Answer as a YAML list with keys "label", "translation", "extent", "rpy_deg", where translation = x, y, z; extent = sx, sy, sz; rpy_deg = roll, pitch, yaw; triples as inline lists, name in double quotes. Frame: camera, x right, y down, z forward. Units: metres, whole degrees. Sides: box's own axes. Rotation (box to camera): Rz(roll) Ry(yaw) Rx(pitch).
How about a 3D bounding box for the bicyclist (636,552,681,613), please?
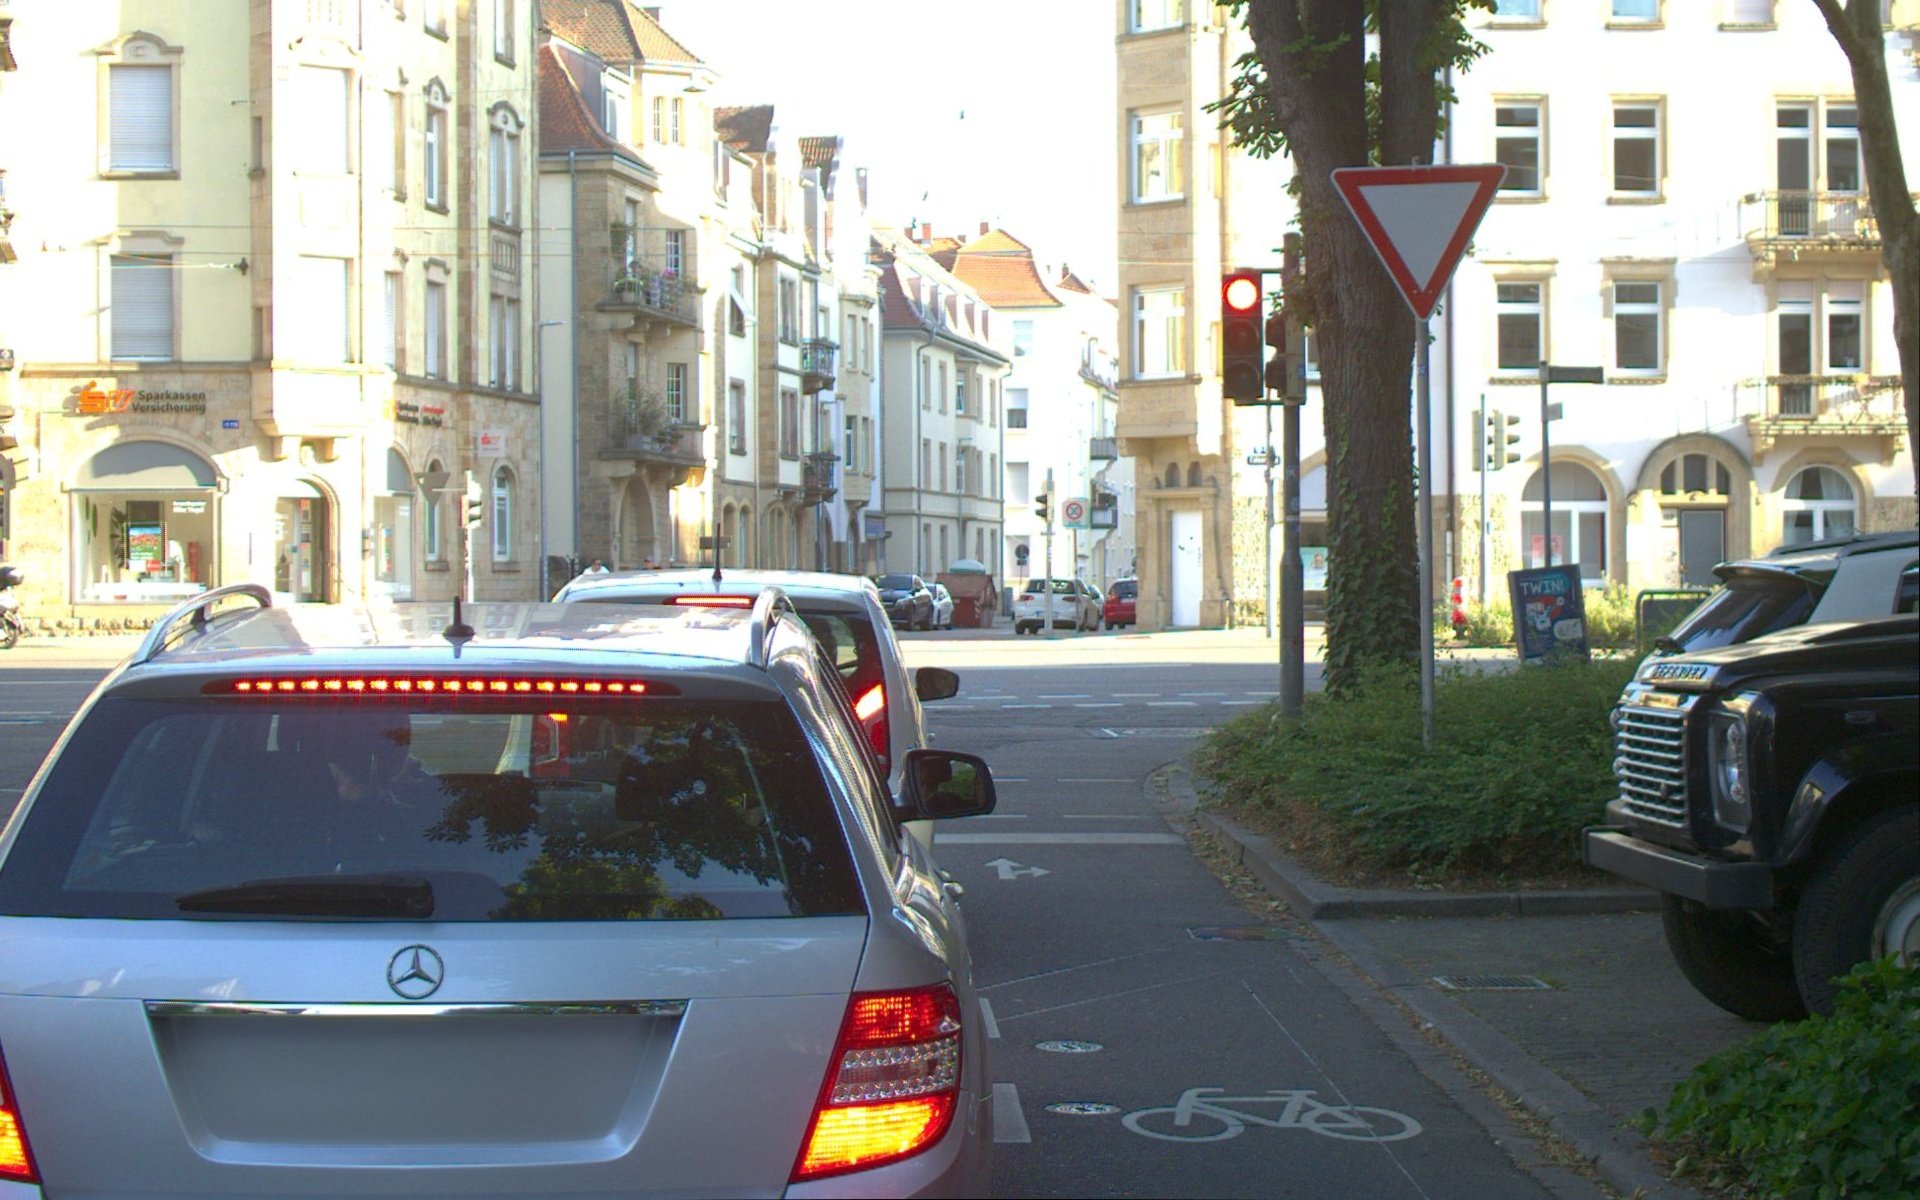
- label: "bicyclist"
  translation: [-6.436, -0.388, 73.466]
  extent: [0.771, 1.285, 0.752]
  rpy_deg: [1, 1, 11]

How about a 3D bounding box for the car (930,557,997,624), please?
- label: "car"
  translation: [0.140, -0.342, 117.345]
  extent: [1.787, 2.196, 3.999]
  rpy_deg: [0, 1, 8]

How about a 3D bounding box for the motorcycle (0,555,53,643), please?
- label: "motorcycle"
  translation: [-16.094, -0.013, 56.879]
  extent: [2.033, 1.447, 0.568]
  rpy_deg: [-1, 1, -4]

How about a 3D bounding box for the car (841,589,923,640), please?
- label: "car"
  translation: [-2.315, 0.405, 102.527]
  extent: [1.835, 1.397, 3.999]
  rpy_deg: [0, 1, 8]

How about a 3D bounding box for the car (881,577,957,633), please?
- label: "car"
  translation: [-1.269, 0.129, 108.757]
  extent: [1.835, 1.657, 3.999]
  rpy_deg: [0, 1, 8]

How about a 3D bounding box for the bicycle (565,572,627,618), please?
- label: "bicycle"
  translation: [-7.761, -0.104, 73.381]
  extent: [0.771, 0.936, 1.939]
  rpy_deg: [1, 1, 11]

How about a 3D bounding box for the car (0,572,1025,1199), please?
- label: "car"
  translation: [-0.892, 0.684, 6.956]
  extent: [1.777, 1.447, 4.548]
  rpy_deg: [0, 1, -2]

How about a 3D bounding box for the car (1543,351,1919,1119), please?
- label: "car"
  translation: [4.141, 0.305, 10.117]
  extent: [4.465, 2.029, 1.701]
  rpy_deg: [-1, 0, -3]

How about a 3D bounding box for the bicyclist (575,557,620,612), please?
- label: "bicyclist"
  translation: [-7.743, -0.326, 73.456]
  extent: [0.771, 1.152, 0.752]
  rpy_deg: [1, 1, 11]

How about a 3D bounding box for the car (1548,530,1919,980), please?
- label: "car"
  translation: [4.296, 0.505, 13.086]
  extent: [3.723, 1.564, 1.709]
  rpy_deg: [-1, 0, -4]

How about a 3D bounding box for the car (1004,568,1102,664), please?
- label: "car"
  translation: [2.350, 0.361, 85.895]
  extent: [2.031, 2.272, 3.999]
  rpy_deg: [0, 1, 8]

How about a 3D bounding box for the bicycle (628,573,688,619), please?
- label: "bicycle"
  translation: [-6.437, -0.095, 73.469]
  extent: [0.771, 0.931, 1.939]
  rpy_deg: [1, 1, 11]

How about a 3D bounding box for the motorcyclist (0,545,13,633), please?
- label: "motorcyclist"
  translation: [-16.073, -0.178, 56.875]
  extent: [0.681, 1.447, 0.568]
  rpy_deg: [-1, 1, -4]

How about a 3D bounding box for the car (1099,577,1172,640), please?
- label: "car"
  translation: [5.227, 0.227, 101.927]
  extent: [1.835, 1.738, 3.999]
  rpy_deg: [0, 1, 8]

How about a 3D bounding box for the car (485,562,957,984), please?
- label: "car"
  translation: [-0.909, 0.574, 14.046]
  extent: [1.619, 1.442, 4.345]
  rpy_deg: [0, 1, -2]
